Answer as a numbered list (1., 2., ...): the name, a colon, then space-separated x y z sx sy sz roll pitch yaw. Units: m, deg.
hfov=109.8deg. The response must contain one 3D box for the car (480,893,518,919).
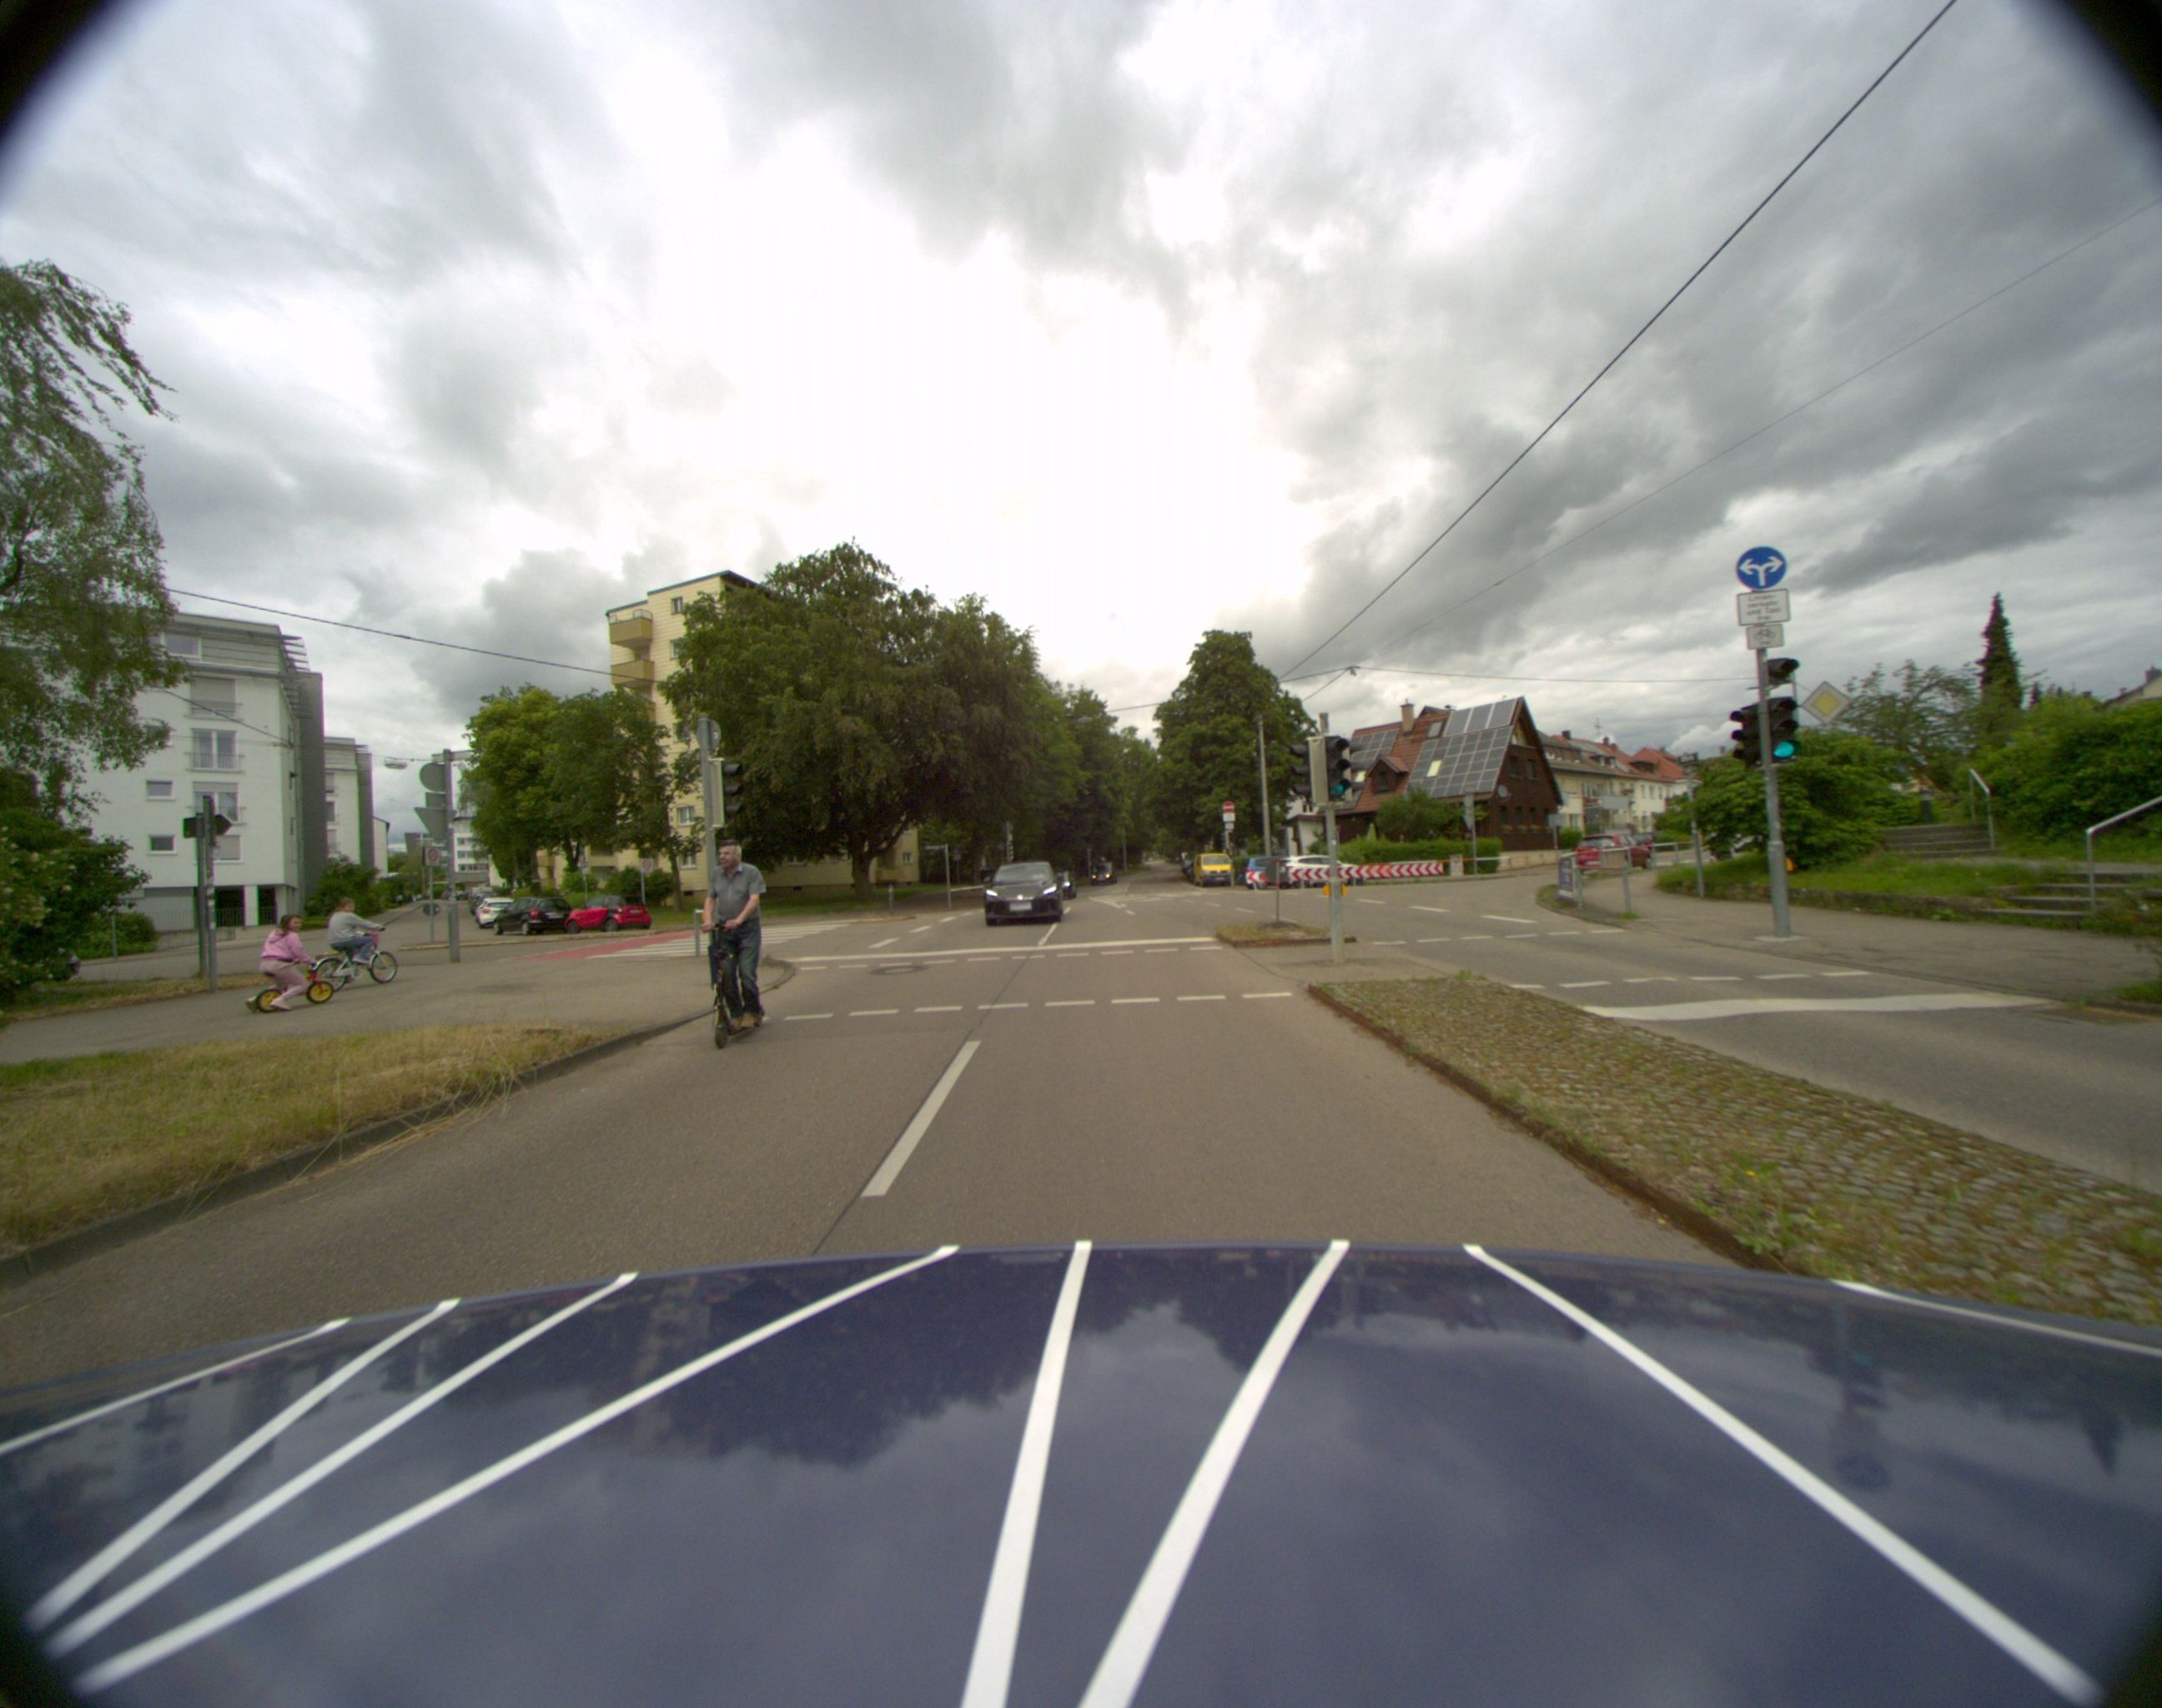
1. car: -36.751 3.240 47.976 1.798 1.404 4.061 -2 -1 -38

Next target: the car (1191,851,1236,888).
1. car: 7.907 0.902 45.587 1.921 1.977 4.801 -3 0 2

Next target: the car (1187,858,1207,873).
1. car: 11.725 1.119 76.852 1.851 1.368 4.597 -3 -1 10

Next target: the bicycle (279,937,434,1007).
1. bicycle: -10.722 1.720 11.337 0.641 0.754 1.681 -3 0 2

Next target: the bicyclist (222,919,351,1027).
1. bicyclist: -9.929 1.459 9.533 0.519 1.180 0.967 -3 0 2

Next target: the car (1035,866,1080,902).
1. car: -1.129 1.450 38.140 1.814 1.520 4.000 -3 1 4

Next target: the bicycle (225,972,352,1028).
1. bicycle: -9.901 1.810 9.528 0.519 0.494 0.988 -3 0 2

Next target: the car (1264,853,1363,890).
1. car: 10.696 0.825 35.057 3.905 1.463 1.844 -3 -1 -10

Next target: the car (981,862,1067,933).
1. car: -1.351 1.016 19.570 1.804 1.541 4.299 -3 -1 0

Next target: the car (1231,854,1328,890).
1. car: 9.718 0.886 37.372 4.176 1.537 1.845 -3 -1 -3

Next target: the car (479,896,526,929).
1. car: -29.609 2.933 38.876 1.798 1.425 4.061 -2 -1 -38

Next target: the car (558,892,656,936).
1. car: -18.851 2.369 30.254 2.916 1.497 1.698 -4 -2 13

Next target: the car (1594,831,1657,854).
1. car: 40.588 -0.870 56.695 1.594 1.480 3.434 -2 -2 -38

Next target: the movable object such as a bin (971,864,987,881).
1. movable object such as a bin: -10.656 1.913 79.287 1.434 1.633 1.020 -1 1 4

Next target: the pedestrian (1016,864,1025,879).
1. pedestrian: -5.542 1.594 69.748 0.688 1.373 0.606 -3 1 8

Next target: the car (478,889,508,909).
1. car: -46.258 3.499 59.779 1.798 1.404 4.061 -2 -1 -38

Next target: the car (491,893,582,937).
1. car: -23.161 2.599 32.270 3.816 1.581 1.822 -5 -1 34

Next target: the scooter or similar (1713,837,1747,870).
1. scooter or similar: 23.089 -0.011 27.043 0.891 1.088 0.611 -5 1 -31

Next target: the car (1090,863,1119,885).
1. car: 1.885 1.558 60.330 1.998 1.586 4.002 -3 0 6

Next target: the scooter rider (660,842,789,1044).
1. scooter rider: -3.336 0.792 7.222 0.683 1.719 1.196 -3 -1 -7

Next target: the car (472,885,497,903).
1. car: -58.573 3.923 74.675 1.798 1.571 4.061 -2 -1 -38

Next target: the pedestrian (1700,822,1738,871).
1. pedestrian: 22.324 -0.266 26.596 0.832 1.643 0.688 -5 1 -31

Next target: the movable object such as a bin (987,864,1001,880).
1. movable object such as a bin: -9.078 1.876 79.073 1.277 1.633 1.020 -1 1 4

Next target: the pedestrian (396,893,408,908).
1. pedestrian: -69.776 4.749 78.074 0.710 1.482 0.710 -4 1 35

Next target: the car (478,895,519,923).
1. car: -33.497 3.123 43.705 1.798 1.346 4.061 -2 -1 -38

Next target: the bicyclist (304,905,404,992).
1. bicyclist: -10.747 1.378 11.254 0.641 1.155 0.803 -3 0 2

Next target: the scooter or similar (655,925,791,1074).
1. scooter or similar: -3.320 1.301 7.186 0.683 1.132 1.459 -3 -1 -7

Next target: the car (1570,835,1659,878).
1. car: 20.363 0.091 28.941 3.691 1.480 1.771 -2 -2 -39

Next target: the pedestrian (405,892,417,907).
1. pedestrian: -69.518 4.724 78.855 0.710 1.482 0.710 -4 1 36

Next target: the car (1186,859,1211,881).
1. car: 8.732 1.199 56.736 1.748 1.442 4.596 -3 0 8
